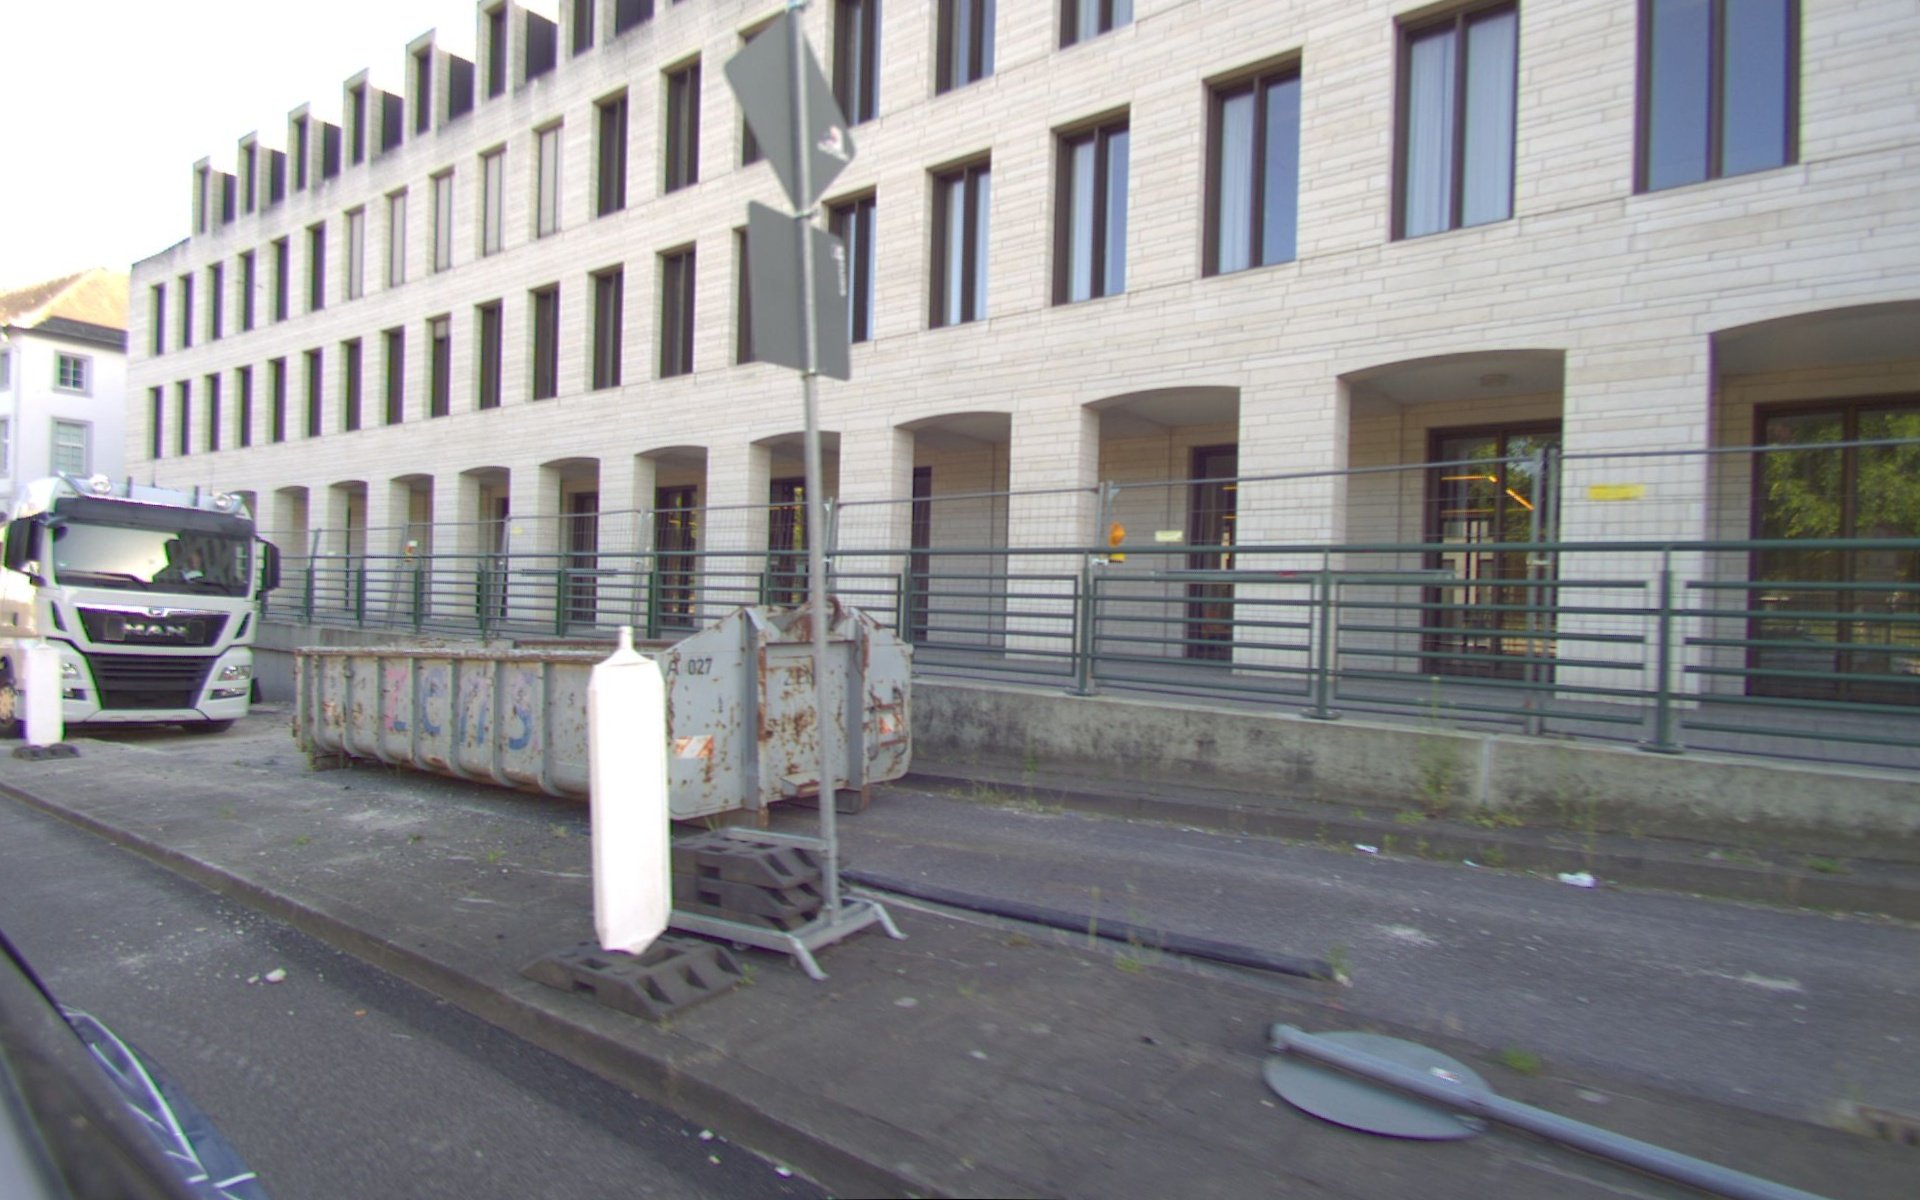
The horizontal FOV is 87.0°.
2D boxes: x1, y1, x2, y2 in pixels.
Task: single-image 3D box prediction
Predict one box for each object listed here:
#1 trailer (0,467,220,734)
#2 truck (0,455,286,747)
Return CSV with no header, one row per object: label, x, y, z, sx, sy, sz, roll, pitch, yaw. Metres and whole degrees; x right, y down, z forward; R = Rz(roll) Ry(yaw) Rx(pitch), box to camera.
trailer,-16.184,0.228,17.532,8.729,3.697,2.618,-2,-6,36
truck,-12.625,0.191,14.942,5.807,3.516,2.555,-2,-6,38
